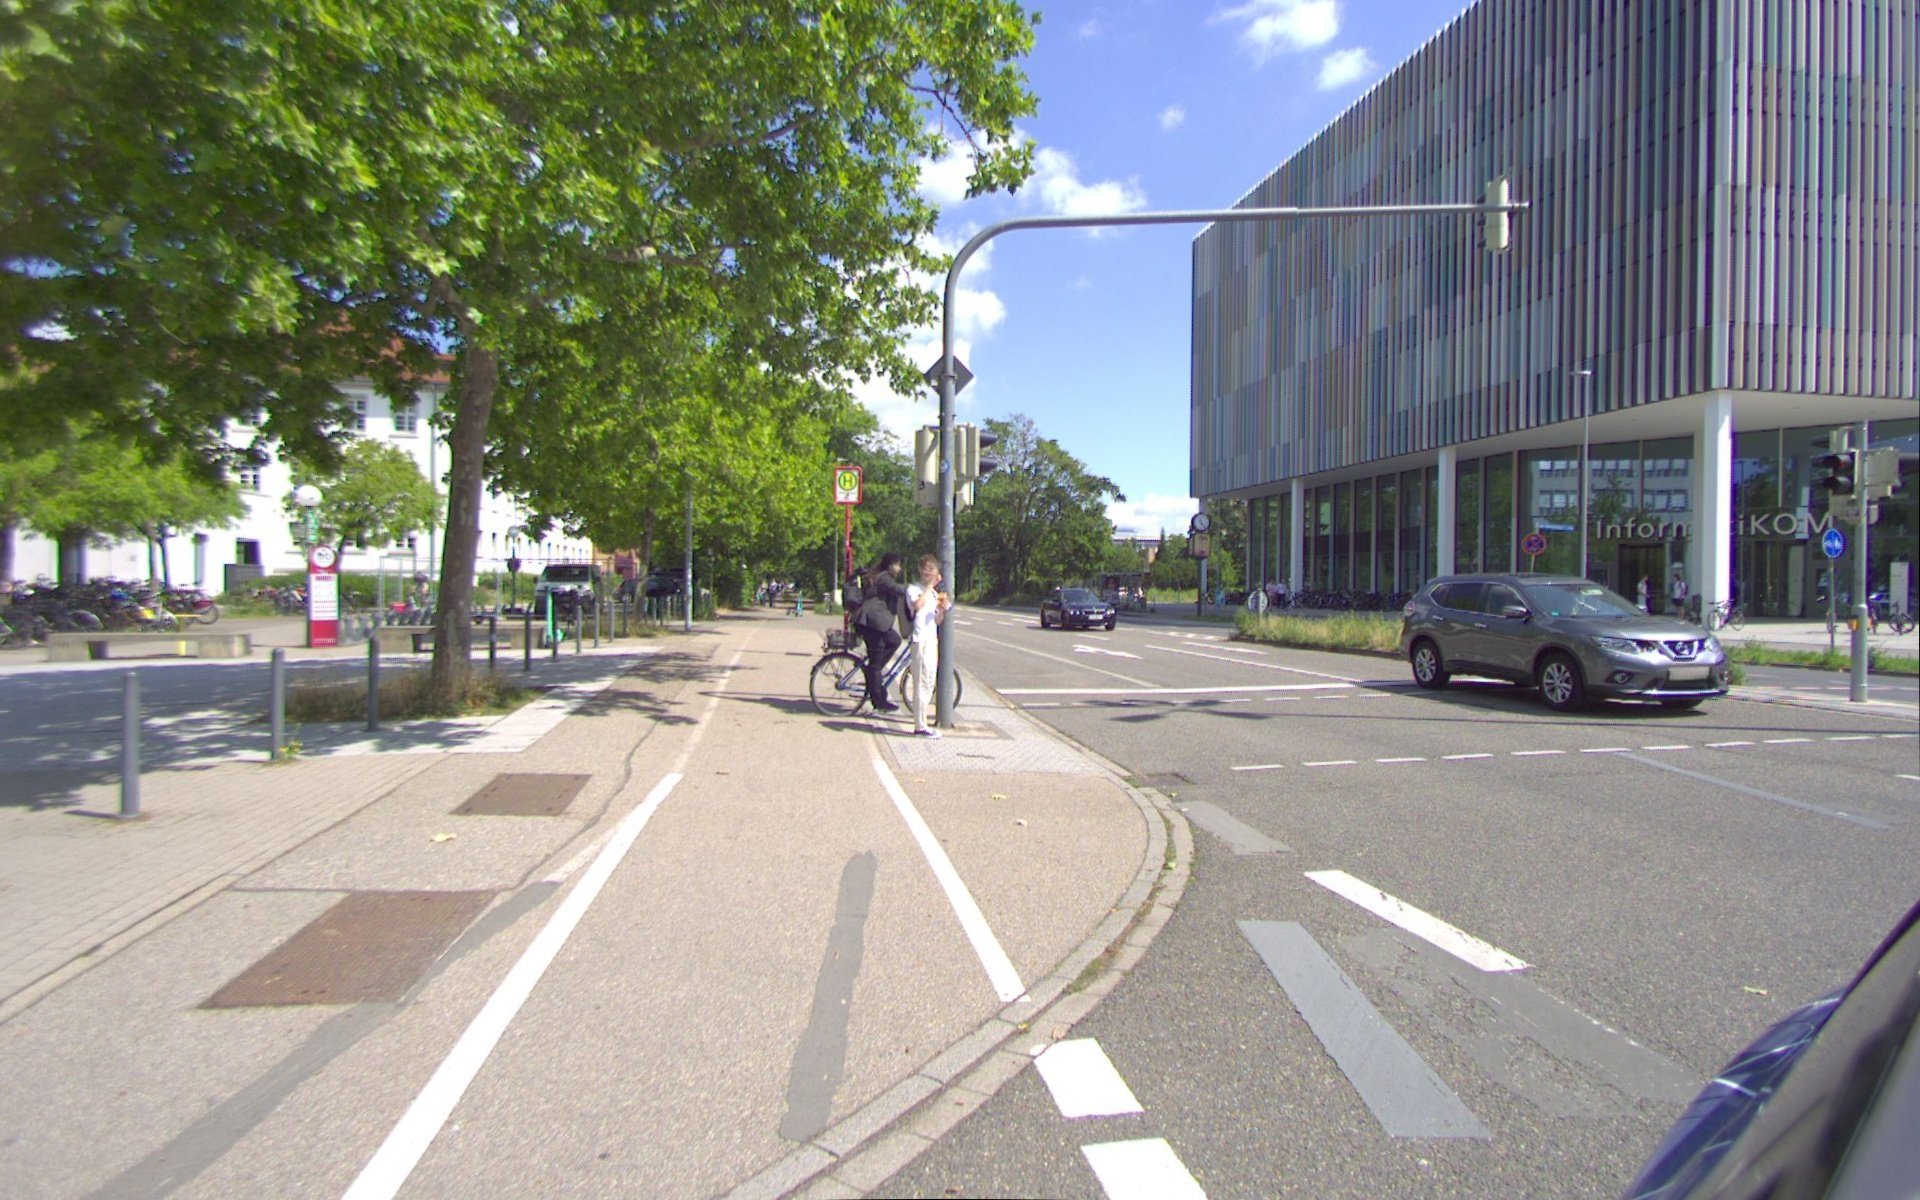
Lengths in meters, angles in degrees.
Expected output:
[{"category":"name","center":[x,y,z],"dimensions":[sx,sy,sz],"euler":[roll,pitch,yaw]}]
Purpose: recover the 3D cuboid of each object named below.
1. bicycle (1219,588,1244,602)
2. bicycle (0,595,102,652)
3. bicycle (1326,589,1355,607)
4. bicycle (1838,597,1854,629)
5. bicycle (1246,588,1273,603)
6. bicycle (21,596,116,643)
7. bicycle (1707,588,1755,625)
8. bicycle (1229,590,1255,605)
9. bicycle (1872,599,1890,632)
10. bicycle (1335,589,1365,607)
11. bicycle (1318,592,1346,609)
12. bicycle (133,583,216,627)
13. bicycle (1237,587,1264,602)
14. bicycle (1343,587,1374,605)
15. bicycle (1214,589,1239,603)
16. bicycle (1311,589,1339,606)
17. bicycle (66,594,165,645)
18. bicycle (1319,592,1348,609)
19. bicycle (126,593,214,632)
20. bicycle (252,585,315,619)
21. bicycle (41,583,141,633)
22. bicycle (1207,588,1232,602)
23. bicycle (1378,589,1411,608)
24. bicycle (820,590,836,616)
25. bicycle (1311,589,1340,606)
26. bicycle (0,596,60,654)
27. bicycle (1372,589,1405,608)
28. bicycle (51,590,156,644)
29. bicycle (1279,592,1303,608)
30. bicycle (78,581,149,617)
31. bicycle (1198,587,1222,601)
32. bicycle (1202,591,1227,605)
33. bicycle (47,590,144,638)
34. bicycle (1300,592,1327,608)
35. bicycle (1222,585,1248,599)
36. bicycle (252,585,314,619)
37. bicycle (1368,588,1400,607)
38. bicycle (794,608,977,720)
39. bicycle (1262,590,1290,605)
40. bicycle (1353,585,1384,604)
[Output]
[{"category":"bicycle","center":[19.564,-0.366,72.965],"dimensions":[1.748,0.967,0.434],"euler":[-2,1,-10]},{"category":"bicycle","center":[-19.095,0.476,21.154],"dimensions":[1.737,1.112,0.603],"euler":[-2,1,-41]},{"category":"bicycle","center":[21.917,-0.104,58.326],"dimensions":[1.519,0.967,0.373],"euler":[-1,1,5]},{"category":"bicycle","center":[28.380,0.418,32.428],"dimensions":[0.372,0.967,1.524],"euler":[0,1,41]},{"category":"bicycle","center":[20.400,-0.296,68.983],"dimensions":[1.748,0.967,0.434],"euler":[-2,1,-10]},{"category":"bicycle","center":[-21.759,0.454,24.743],"dimensions":[1.737,1.113,0.603],"euler":[0,0,-41]},{"category":"bicycle","center":[26.176,0.203,34.368],"dimensions":[1.514,1.201,0.374],"euler":[-2,2,-11]},{"category":"bicycle","center":[19.866,-0.190,71.289],"dimensions":[1.748,0.967,0.434],"euler":[-2,1,-10]},{"category":"bicycle","center":[29.153,0.486,32.036],"dimensions":[0.372,0.967,1.747],"euler":[0,1,41]},{"category":"bicycle","center":[22.008,-0.093,57.149],"dimensions":[1.519,0.967,0.373],"euler":[-1,1,5]},{"category":"bicycle","center":[21.924,0.031,59.672],"dimensions":[1.519,0.967,0.373],"euler":[-1,1,5]},{"category":"bicycle","center":[-21.372,0.122,27.547],"dimensions":[1.737,1.112,0.603],"euler":[-2,1,-41]},{"category":"bicycle","center":[20.087,-0.372,69.911],"dimensions":[1.748,0.967,0.434],"euler":[-2,1,-10]},{"category":"bicycle","center":[22.216,-0.215,56.418],"dimensions":[1.519,0.967,0.373],"euler":[-1,1,5]},{"category":"bicycle","center":[19.397,-0.309,73.729],"dimensions":[1.748,0.967,0.434],"euler":[-2,1,-10]},{"category":"bicycle","center":[21.840,-0.147,60.633],"dimensions":[1.519,0.967,0.373],"euler":[-1,1,5]},{"category":"bicycle","center":[-19.516,0.431,23.417],"dimensions":[1.737,1.113,0.603],"euler":[0,0,-41]},{"category":"bicycle","center":[21.798,0.010,59.046],"dimensions":[1.519,0.967,0.373],"euler":[-1,1,5]},{"category":"bicycle","center":[-20.065,0.302,25.708],"dimensions":[1.737,0.966,0.603],"euler":[0,0,-41]},{"category":"bicycle","center":[-23.468,0.072,35.134],"dimensions":[1.737,1.112,0.515],"euler":[-2,1,-41]},{"category":"bicycle","center":[-20.260,0.169,23.630],"dimensions":[1.737,1.112,0.603],"euler":[0,1,-41]},{"category":"bicycle","center":[19.180,-0.356,74.714],"dimensions":[1.748,0.967,0.434],"euler":[-2,1,-10]},{"category":"bicycle","center":[22.965,-0.063,53.492],"dimensions":[1.519,0.967,0.373],"euler":[-1,1,5]},{"category":"bicycle","center":[-6.491,0.149,49.707],"dimensions":[0.626,1.206,2.122],"euler":[2,0,-10]},{"category":"bicycle","center":[21.738,-0.127,60.221],"dimensions":[1.519,0.967,0.373],"euler":[-1,1,5]},{"category":"bicycle","center":[-19.156,0.501,20.204],"dimensions":[1.737,1.112,0.603],"euler":[-2,1,-41]},{"category":"bicycle","center":[22.899,-0.076,54.084],"dimensions":[1.519,0.967,0.373],"euler":[-1,1,5]},{"category":"bicycle","center":[-19.142,0.355,22.651],"dimensions":[1.737,1.112,0.603],"euler":[-2,1,-41]},{"category":"bicycle","center":[20.448,-0.016,62.491],"dimensions":[1.514,0.967,0.374],"euler":[-2,1,-21]},{"category":"bicycle","center":[-27.617,-0.037,33.024],"dimensions":[1.737,1.112,0.603],"euler":[-2,1,-41]},{"category":"bicycle","center":[18.892,-0.462,76.448],"dimensions":[1.748,0.967,0.434],"euler":[-2,1,-10]},{"category":"bicycle","center":[19.043,-0.167,75.748],"dimensions":[1.748,0.967,0.434],"euler":[-2,1,-10]},{"category":"bicycle","center":[-20.681,0.325,24.246],"dimensions":[1.736,1.113,0.603],"euler":[0,0,-41]},{"category":"bicycle","center":[21.609,0.006,61.838],"dimensions":[1.519,0.967,0.373],"euler":[-1,1,5]},{"category":"bicycle","center":[19.685,-0.549,72.345],"dimensions":[1.748,0.967,0.434],"euler":[-2,1,-10]},{"category":"bicycle","center":[-23.835,0.069,35.633],"dimensions":[1.737,1.112,0.592],"euler":[-2,1,-41]},{"category":"bicycle","center":[22.937,-0.143,54.755],"dimensions":[1.519,0.967,0.373],"euler":[-1,1,5]},{"category":"bicycle","center":[-0.841,0.705,11.241],"dimensions":[1.851,1.086,0.820],"euler":[3,1,-14]},{"category":"bicycle","center":[20.767,-0.182,66.481],"dimensions":[1.748,0.967,0.434],"euler":[-2,1,-10]},{"category":"bicycle","center":[22.553,-0.308,55.902],"dimensions":[1.519,0.967,0.373],"euler":[-1,1,5]}]
